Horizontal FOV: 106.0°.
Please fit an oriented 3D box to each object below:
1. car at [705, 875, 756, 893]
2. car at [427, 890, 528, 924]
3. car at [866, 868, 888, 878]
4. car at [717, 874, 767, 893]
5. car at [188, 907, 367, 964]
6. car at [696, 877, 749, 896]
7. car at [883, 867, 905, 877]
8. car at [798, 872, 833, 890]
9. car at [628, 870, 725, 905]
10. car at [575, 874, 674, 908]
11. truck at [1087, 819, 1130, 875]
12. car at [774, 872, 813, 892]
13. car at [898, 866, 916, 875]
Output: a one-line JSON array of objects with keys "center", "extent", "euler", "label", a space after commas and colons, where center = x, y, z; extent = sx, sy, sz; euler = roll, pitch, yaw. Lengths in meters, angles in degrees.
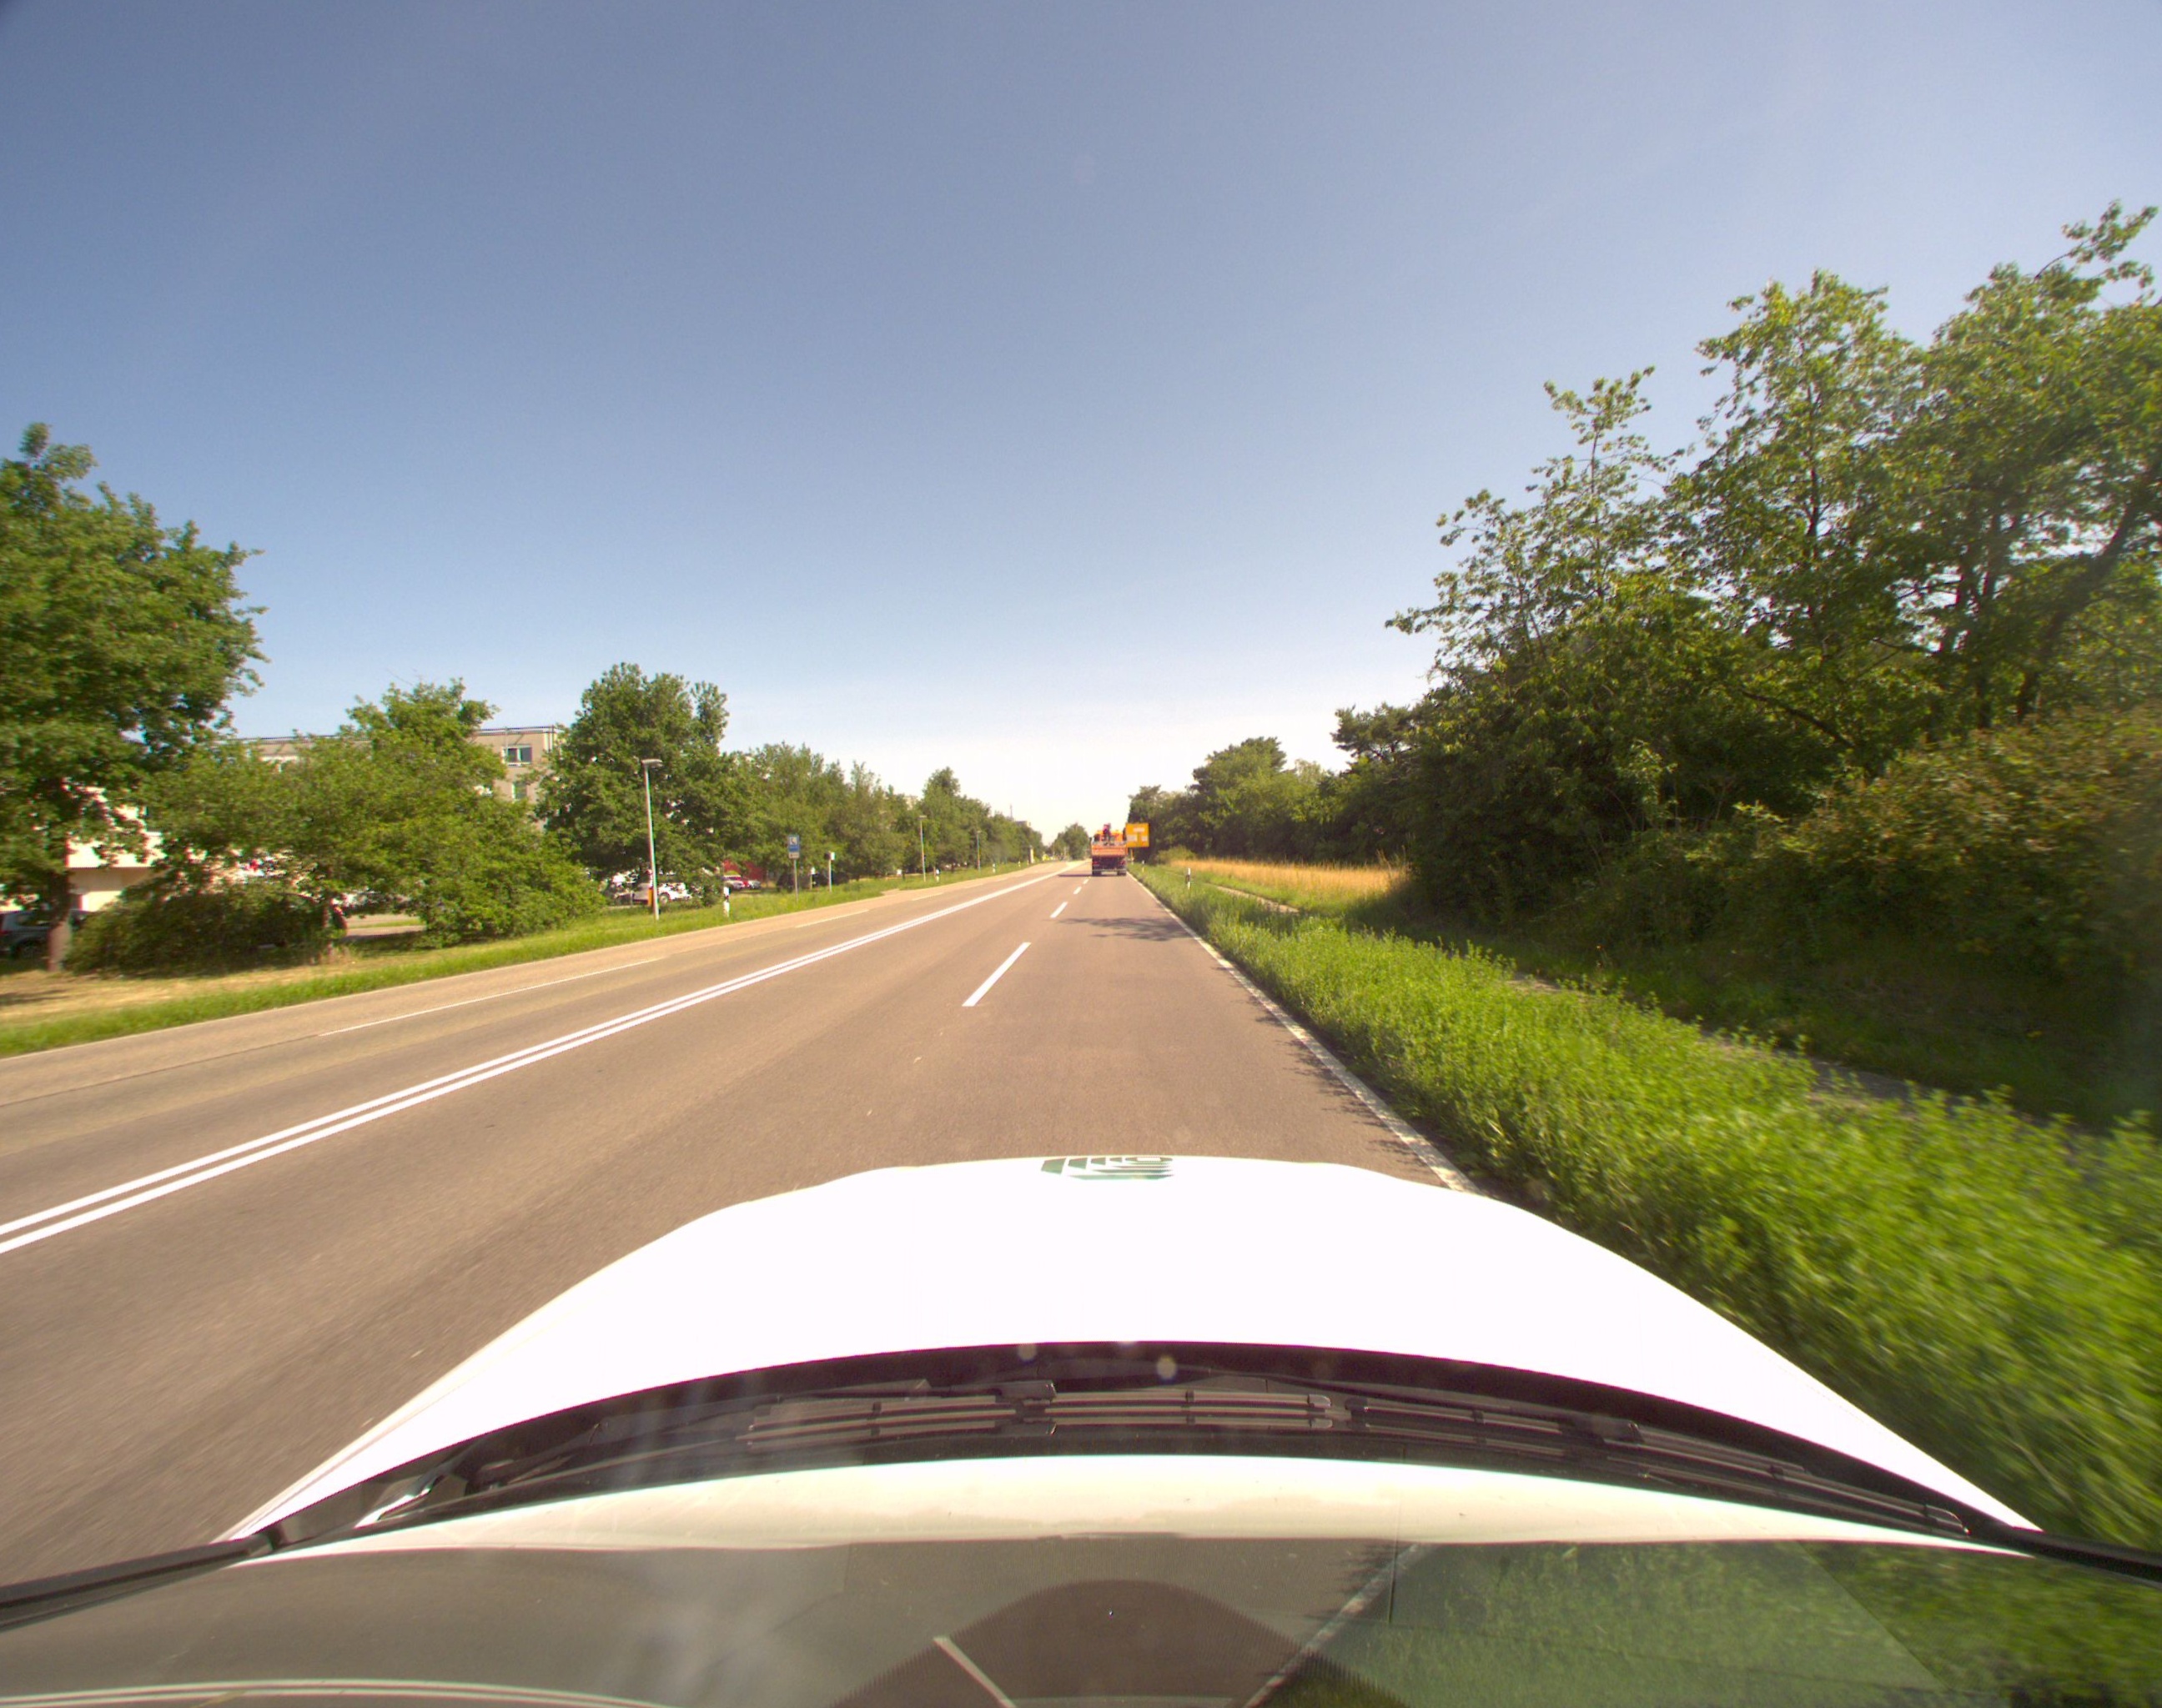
[{"center": [-33.582, 2.872, 78.068], "extent": [3.973, 1.536, 1.743], "euler": [-3, 0, 0], "label": "car"}, {"center": [-30.329, 2.633, 41.110], "extent": [1.922, 1.394, 4.192], "euler": [-2, 0, 0], "label": "car"}, {"center": [-32.906, 3.027, 131.561], "extent": [1.985, 1.437, 4.959], "euler": [-2, 0, 3], "label": "car"}, {"center": [-33.458, 2.898, 80.392], "extent": [4.121, 1.585, 1.743], "euler": [-3, 0, 0], "label": "car"}, {"center": [-25.614, 2.553, 26.186], "extent": [1.666, 1.350, 4.002], "euler": [-3, 0, 2], "label": "car"}, {"center": [-33.116, 2.964, 75.209], "extent": [3.973, 1.536, 1.888], "euler": [-3, 0, 0], "label": "car"}, {"center": [-30.295, 2.897, 132.105], "extent": [1.985, 1.437, 4.959], "euler": [-2, 0, 3], "label": "car"}, {"center": [-25.710, 2.577, 79.031], "extent": [1.736, 1.578, 4.550], "euler": [-3, 0, 2], "label": "car"}, {"center": [-25.172, 2.073, 50.907], "extent": [2.047, 1.929, 5.048], "euler": [-3, -1, 32], "label": "car"}, {"center": [-28.747, 2.297, 51.462], "extent": [2.047, 1.806, 5.048], "euler": [-3, -1, 32], "label": "car"}, {"center": [1.960, -0.456, 60.133], "extent": [2.863, 3.880, 7.398], "euler": [0, 0, 0], "label": "truck"}, {"center": [-25.824, 2.477, 73.346], "extent": [1.736, 1.578, 4.550], "euler": [-3, 0, 2], "label": "car"}, {"center": [-30.357, 2.888, 142.076], "extent": [1.986, 1.437, 4.611], "euler": [-2, 0, 2], "label": "car"}]
